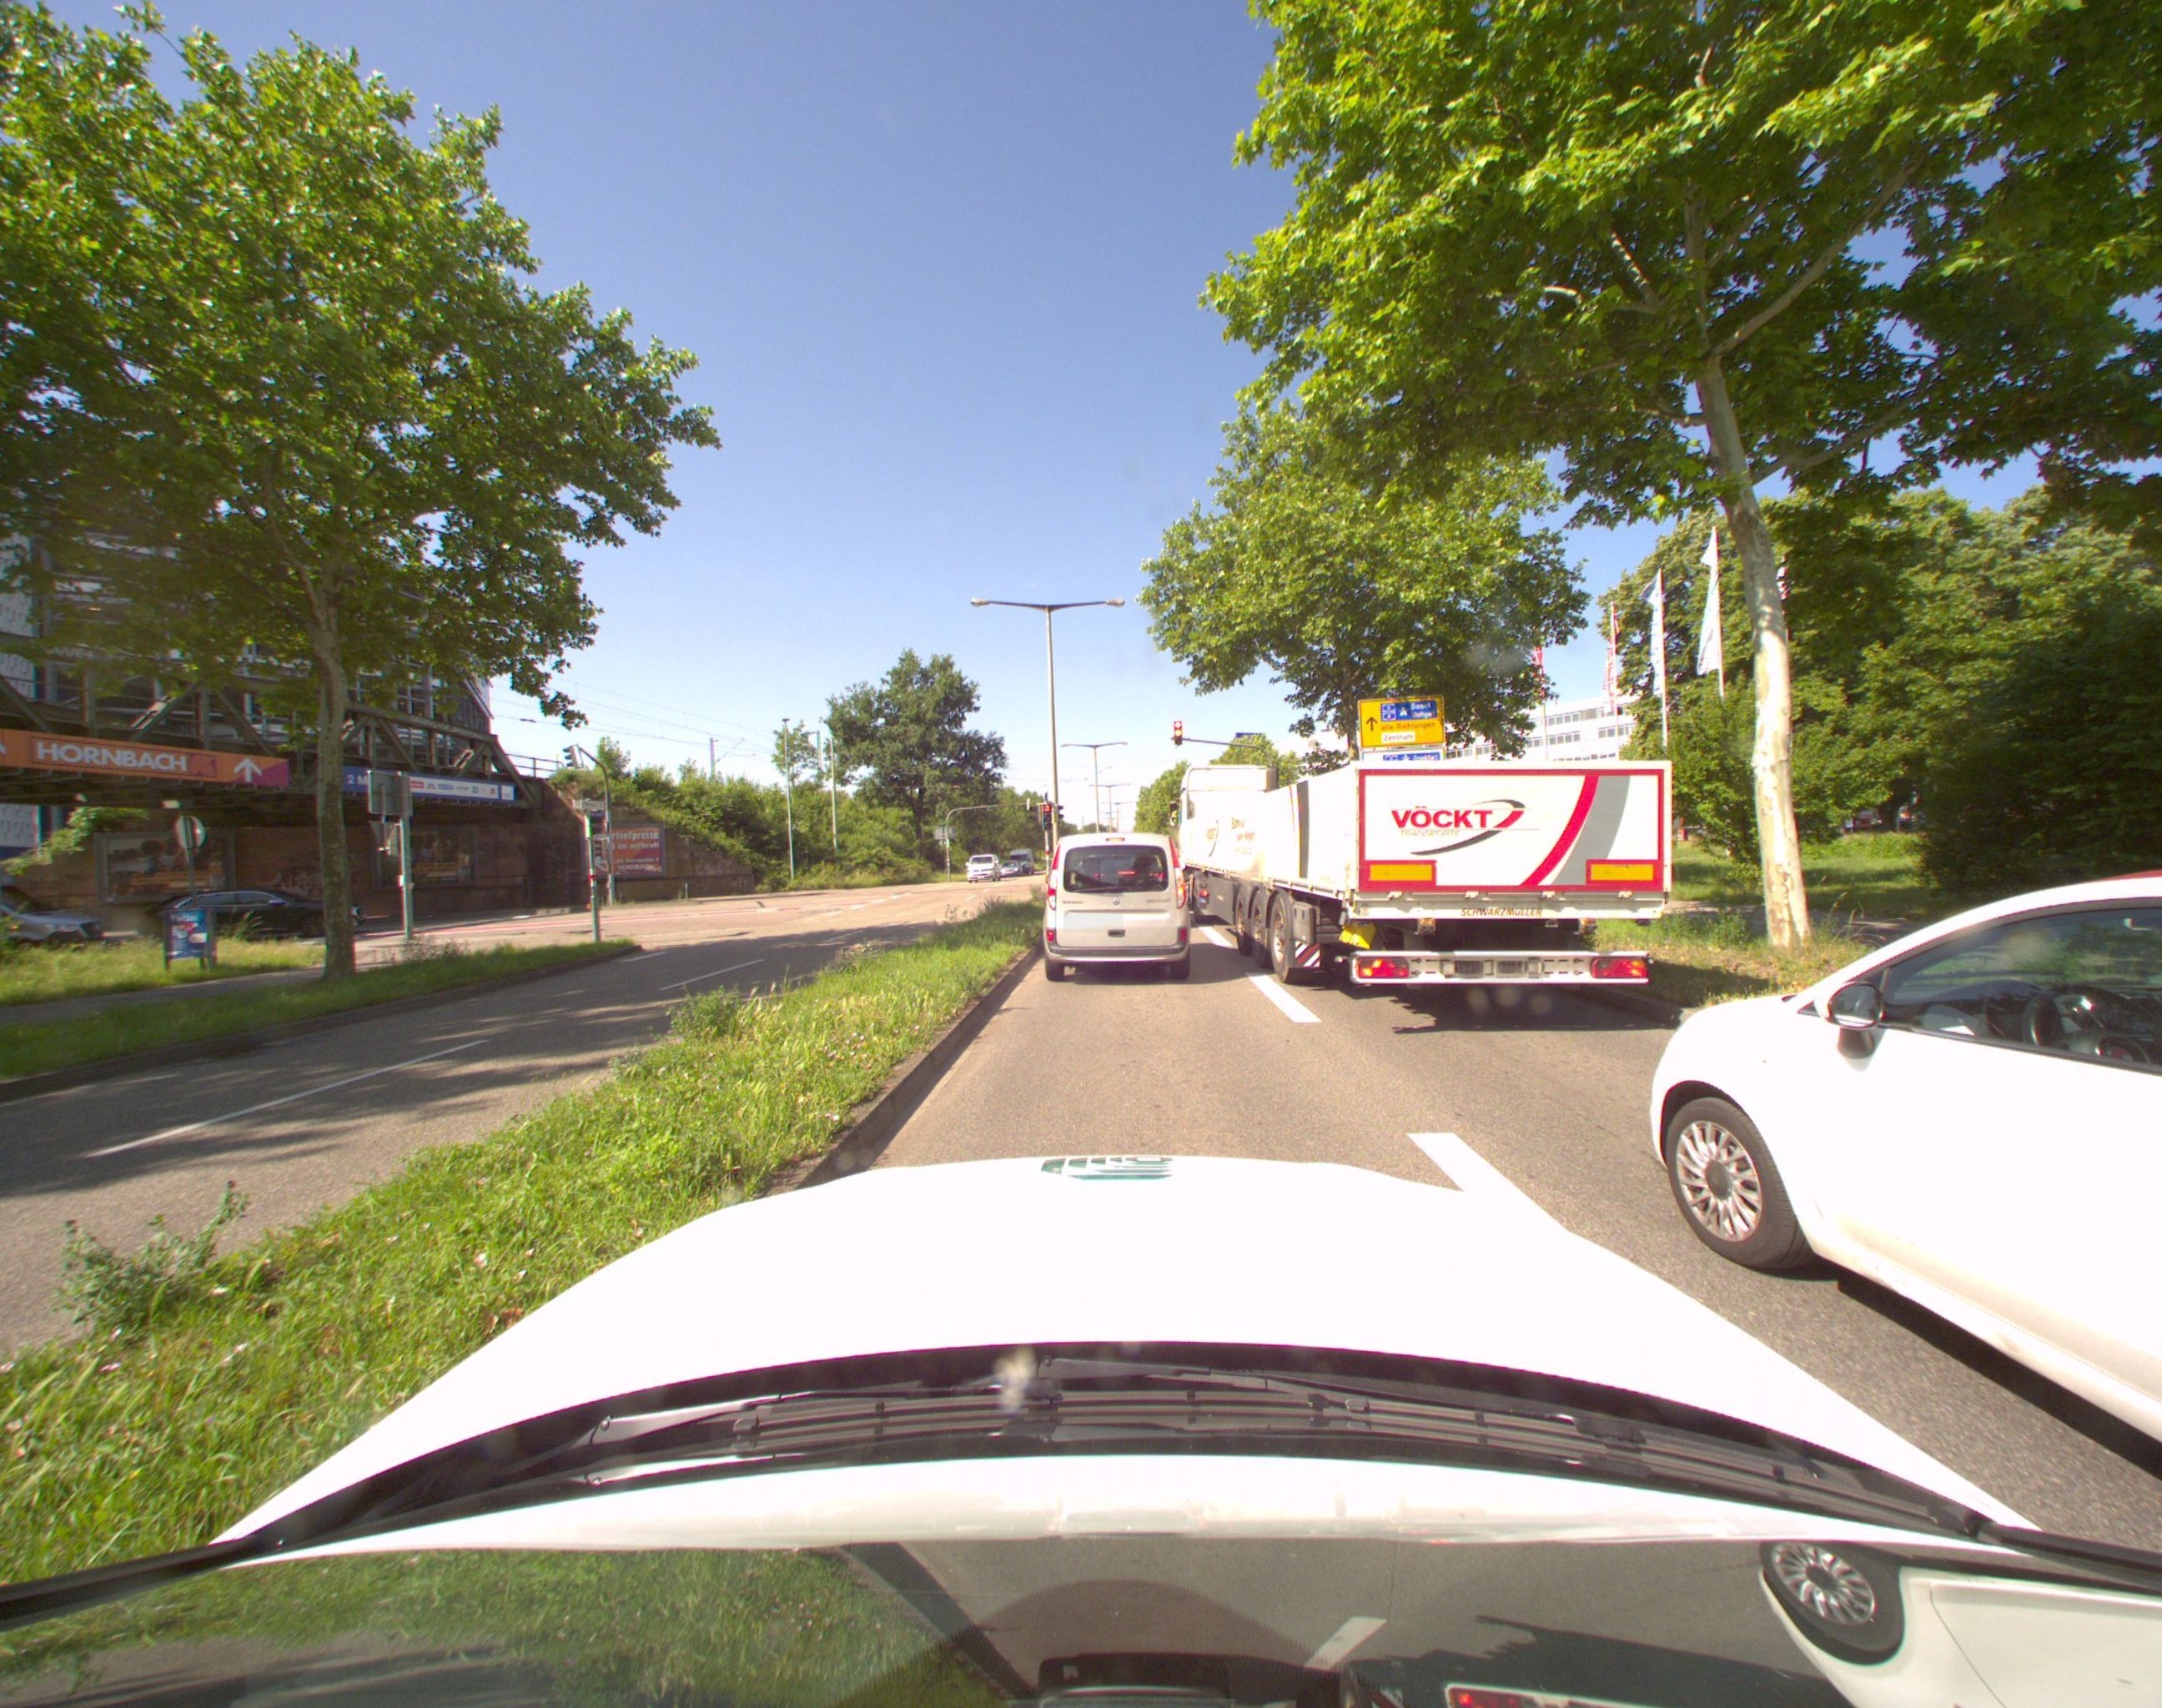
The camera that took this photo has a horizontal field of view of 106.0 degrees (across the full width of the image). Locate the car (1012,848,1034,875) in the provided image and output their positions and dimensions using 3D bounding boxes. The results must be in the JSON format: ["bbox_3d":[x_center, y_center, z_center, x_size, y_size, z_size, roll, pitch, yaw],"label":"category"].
[{"bbox_3d":[-5.775,0.739,81.463,2.054,2.614,5.861,-1,0,-4],"label":"car"}]

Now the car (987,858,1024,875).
[{"bbox_3d":[-6.607,1.092,71.051,1.920,1.409,4.193,-1,0,-25],"label":"car"}]

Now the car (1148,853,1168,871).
[{"bbox_3d":[8.765,0.917,93.012,1.986,2.014,4.001,-1,0,2],"label":"car"}]

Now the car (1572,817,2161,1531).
[{"bbox_3d":[3.017,0.630,2.004,1.654,1.436,3.523,-1,0,4],"label":"car"}]

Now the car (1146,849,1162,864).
[{"bbox_3d":[10.147,0.391,112.924,1.986,2.014,4.001,-1,0,2],"label":"car"}]

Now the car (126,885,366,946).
[{"bbox_3d":[-26.055,1.866,25.711,5.074,1.596,1.510,-1,-1,-35],"label":"car"}]

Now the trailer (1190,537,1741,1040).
[{"bbox_3d":[3.704,-0.456,12.276,3.004,3.740,12.248,-1,0,3],"label":"trailer"}]

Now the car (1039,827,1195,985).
[{"bbox_3d":[0.485,0.604,11.246,1.742,1.772,3.951,-1,0,2],"label":"car"}]

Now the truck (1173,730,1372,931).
[{"bbox_3d":[4.054,-0.426,19.161,3.060,3.758,7.479,-1,0,2],"label":"truck"}]

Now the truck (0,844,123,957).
[{"bbox_3d":[-28.123,1.173,19.479,6.432,2.713,1.979,-1,-1,-34],"label":"truck"}]

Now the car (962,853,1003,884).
[{"bbox_3d":[-6.770,0.961,56.587,1.986,1.891,4.989,-4,0,2],"label":"car"}]
